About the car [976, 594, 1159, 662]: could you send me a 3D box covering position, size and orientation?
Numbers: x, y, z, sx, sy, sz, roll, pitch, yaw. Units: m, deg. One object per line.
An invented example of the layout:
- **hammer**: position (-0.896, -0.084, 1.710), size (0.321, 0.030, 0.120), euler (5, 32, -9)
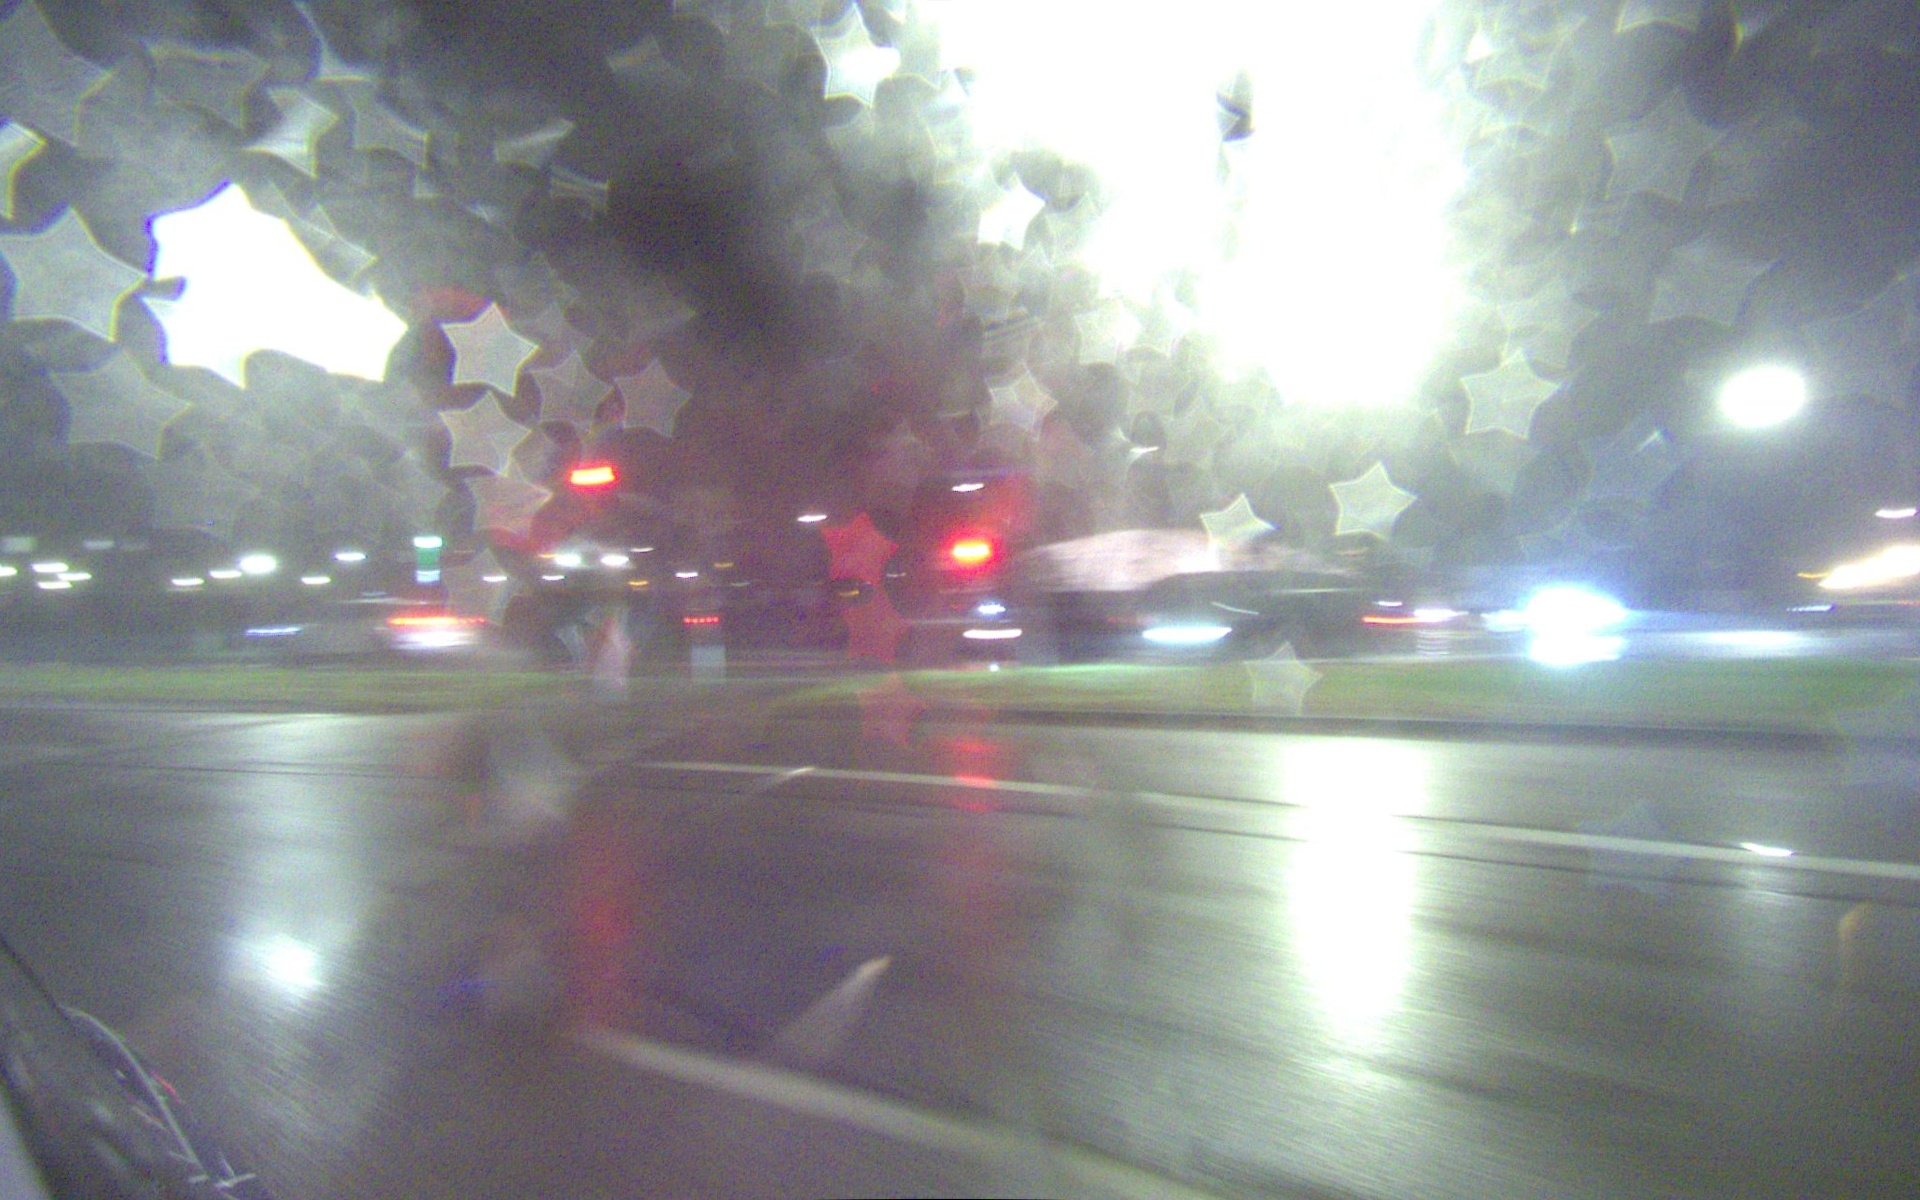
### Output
- **car**: position (2.739, 0.684, 26.337), size (4.347, 1.552, 2.003), euler (-1, 1, -7)

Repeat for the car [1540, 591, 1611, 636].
- **car**: position (21.307, 0.425, 35.165), size (1.821, 1.383, 3.912), euler (0, 2, 27)

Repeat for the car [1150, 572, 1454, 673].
- **car**: position (6.366, 0.380, 19.273), size (5.058, 1.745, 2.063), euler (-1, 1, -1)

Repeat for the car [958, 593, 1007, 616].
- **car**: position (1.592, 0.300, 73.268), size (1.651, 1.541, 4.012), euler (-2, 2, -31)

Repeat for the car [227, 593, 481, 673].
- **car**: position (-14.225, 0.754, 23.886), size (4.984, 1.728, 2.065), euler (-1, 1, 9)

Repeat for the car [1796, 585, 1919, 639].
- **car**: position (36.324, 0.431, 40.482), size (4.419, 2.028, 1.974), euler (0, 2, 40)
